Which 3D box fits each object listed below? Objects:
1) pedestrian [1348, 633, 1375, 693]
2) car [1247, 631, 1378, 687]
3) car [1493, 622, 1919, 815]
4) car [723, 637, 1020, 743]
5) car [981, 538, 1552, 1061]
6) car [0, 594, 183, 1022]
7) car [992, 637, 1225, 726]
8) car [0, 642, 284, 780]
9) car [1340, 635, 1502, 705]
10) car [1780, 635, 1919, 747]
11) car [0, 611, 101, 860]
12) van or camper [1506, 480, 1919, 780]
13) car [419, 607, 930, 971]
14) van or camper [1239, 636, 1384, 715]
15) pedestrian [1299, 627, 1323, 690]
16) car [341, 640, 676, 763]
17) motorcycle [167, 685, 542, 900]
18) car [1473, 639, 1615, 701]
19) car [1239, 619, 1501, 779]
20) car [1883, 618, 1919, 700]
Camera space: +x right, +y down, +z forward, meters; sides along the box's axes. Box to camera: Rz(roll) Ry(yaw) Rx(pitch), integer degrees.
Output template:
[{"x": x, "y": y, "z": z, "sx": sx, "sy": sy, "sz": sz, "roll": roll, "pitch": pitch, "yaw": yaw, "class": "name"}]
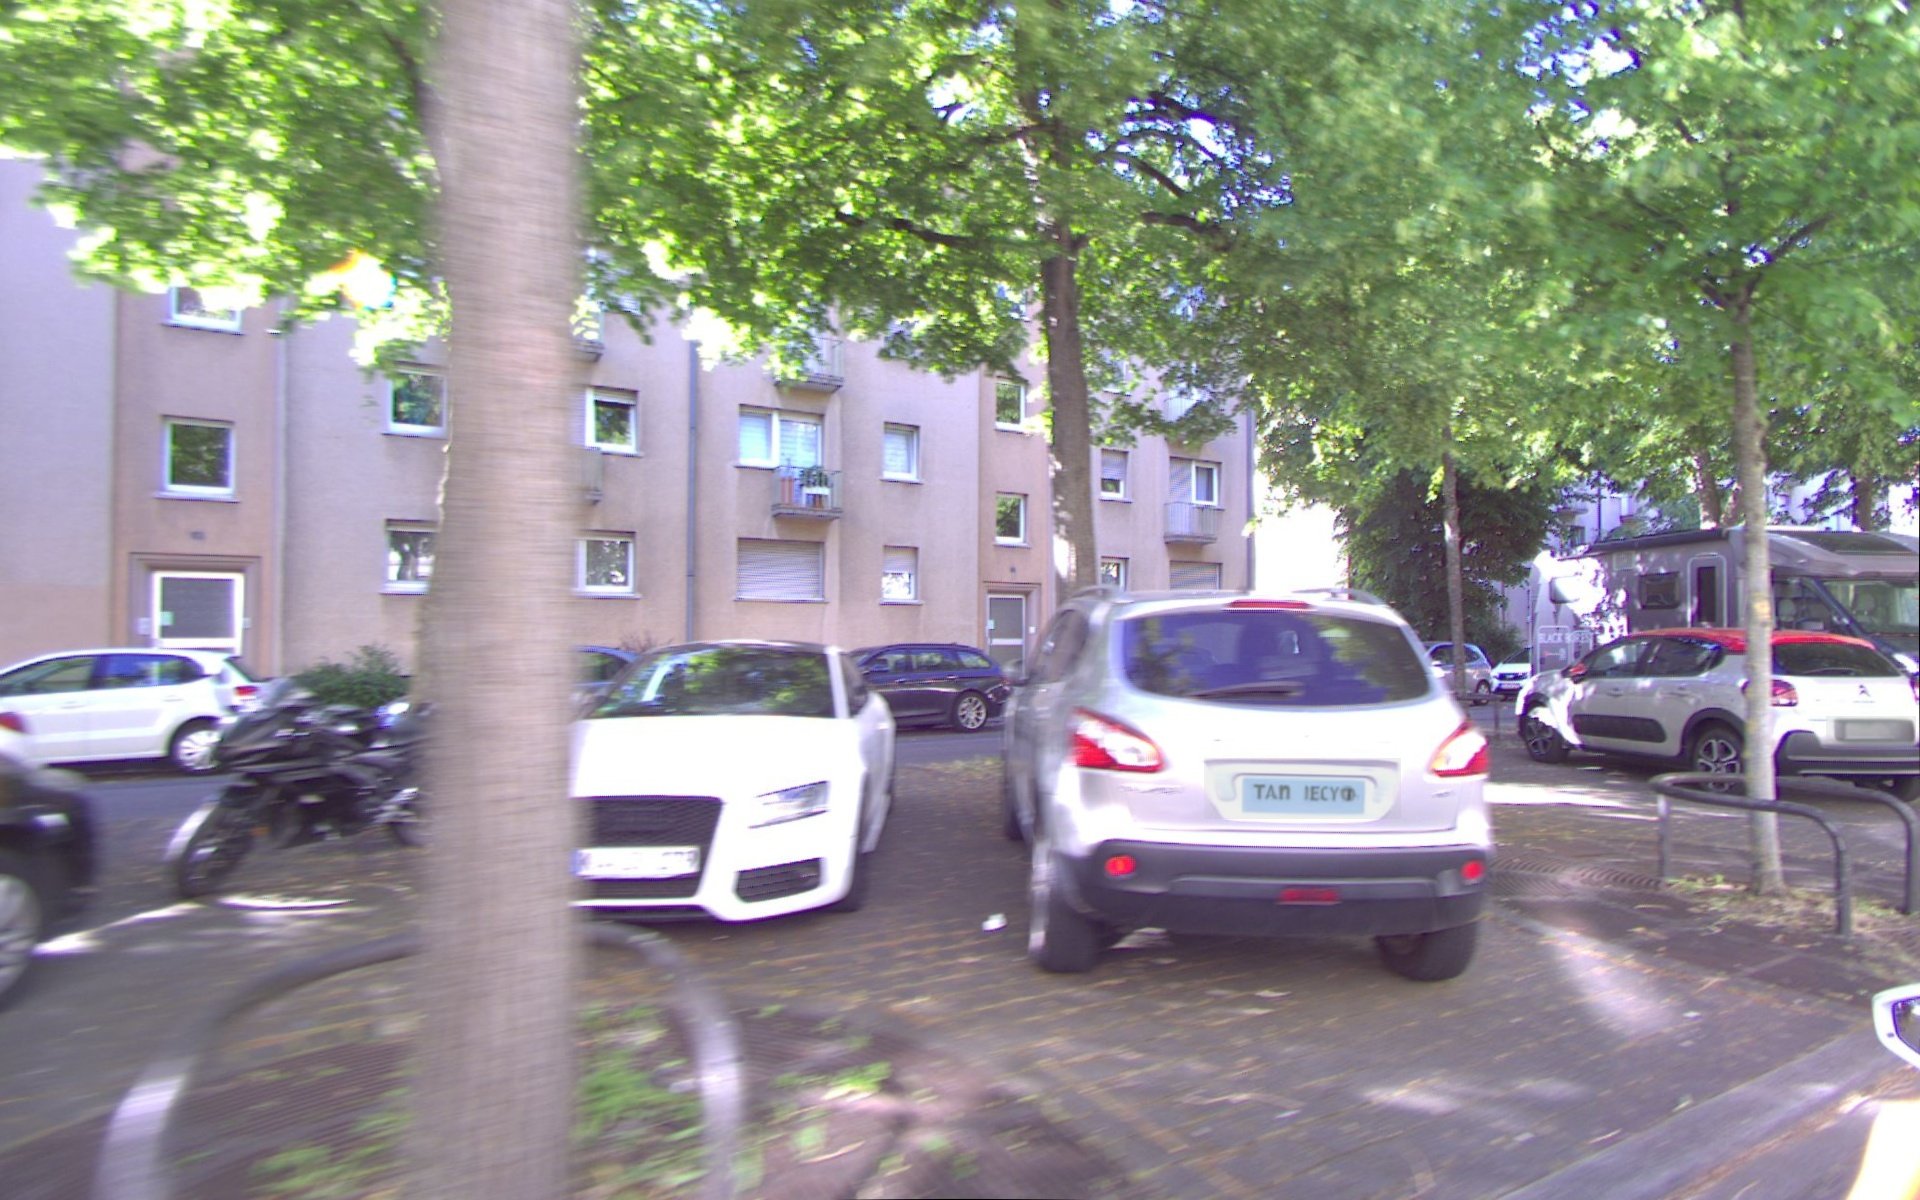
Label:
[{"x": 11.884, "y": 1.864, "z": 29.755, "sx": 0.552, "sy": 1.750, "sz": 0.497, "roll": 1, "pitch": -2, "yaw": -30, "class": "pedestrian"}, {"x": 10.026, "y": 1.640, "z": 28.530, "sx": 3.569, "sy": 1.501, "sz": 1.617, "roll": 1, "pitch": -2, "yaw": -30, "class": "car"}, {"x": 7.270, "y": 1.012, "z": 10.012, "sx": 1.723, "sy": 1.527, "sz": 4.000, "roll": 0, "pitch": -2, "yaw": -1, "class": "car"}, {"x": -1.408, "y": 1.372, "z": 16.523, "sx": 4.480, "sy": 1.528, "sz": 1.984, "roll": 1, "pitch": -2, "yaw": -30, "class": "car"}, {"x": 1.055, "y": 0.710, "z": 5.371, "sx": 1.725, "sy": 1.701, "sz": 4.147, "roll": 0, "pitch": -1, "yaw": -1, "class": "car"}, {"x": -4.216, "y": 0.662, "z": 2.029, "sx": 1.682, "sy": 1.481, "sz": 4.426, "roll": 1, "pitch": -1, "yaw": 3, "class": "car"}, {"x": 2.852, "y": 1.468, "z": 19.078, "sx": 4.259, "sy": 1.528, "sz": 1.755, "roll": 1, "pitch": -2, "yaw": -31, "class": "car"}, {"x": -10.183, "y": 1.199, "z": 11.445, "sx": 3.953, "sy": 1.405, "sz": 1.883, "roll": 1, "pitch": -2, "yaw": -31, "class": "car"}, {"x": 10.891, "y": 1.595, "z": 23.689, "sx": 3.725, "sy": 1.519, "sz": 1.656, "roll": 1, "pitch": -2, "yaw": -30, "class": "car"}, {"x": 13.432, "y": 1.208, "z": 13.194, "sx": 1.643, "sy": 1.443, "sz": 4.328, "roll": 0, "pitch": -2, "yaw": -3, "class": "car"}, {"x": -6.720, "y": 0.767, "z": 4.851, "sx": 1.781, "sy": 1.474, "sz": 3.636, "roll": 0, "pitch": -2, "yaw": 7, "class": "car"}, {"x": 10.510, "y": 0.415, "z": 13.342, "sx": 2.269, "sy": 2.968, "sz": 7.248, "roll": 0, "pitch": -2, "yaw": -3, "class": "van or camper"}, {"x": -1.240, "y": 0.783, "z": 6.135, "sx": 1.787, "sy": 1.422, "sz": 4.043, "roll": 1, "pitch": 0, "yaw": 3, "class": "car"}, {"x": 7.518, "y": 1.559, "z": 21.470, "sx": 2.666, "sy": 1.575, "sz": 1.589, "roll": 1, "pitch": -2, "yaw": -30, "class": "van or camper"}, {"x": 10.516, "y": 1.747, "z": 30.081, "sx": 0.457, "sy": 1.851, "sz": 0.497, "roll": 1, "pitch": -2, "yaw": -30, "class": "pedestrian"}, {"x": -6.131, "y": 1.285, "z": 13.805, "sx": 3.953, "sy": 1.436, "sz": 1.883, "roll": 1, "pitch": -2, "yaw": -31, "class": "car"}, {"x": -3.512, "y": 1.053, "z": 6.072, "sx": 0.676, "sy": 0.969, "sz": 1.919, "roll": 0, "pitch": -2, "yaw": 21, "class": "motorcycle"}, {"x": 15.522, "y": 1.817, "z": 26.683, "sx": 3.725, "sy": 1.519, "sz": 1.656, "roll": 1, "pitch": -2, "yaw": -30, "class": "car"}, {"x": 4.421, "y": 1.005, "z": 11.414, "sx": 1.722, "sy": 1.527, "sz": 3.546, "roll": 0, "pitch": -2, "yaw": 4, "class": "car"}, {"x": 21.704, "y": 1.250, "z": 20.381, "sx": 1.774, "sy": 1.787, "sz": 4.561, "roll": 0, "pitch": -2, "yaw": 0, "class": "car"}]
